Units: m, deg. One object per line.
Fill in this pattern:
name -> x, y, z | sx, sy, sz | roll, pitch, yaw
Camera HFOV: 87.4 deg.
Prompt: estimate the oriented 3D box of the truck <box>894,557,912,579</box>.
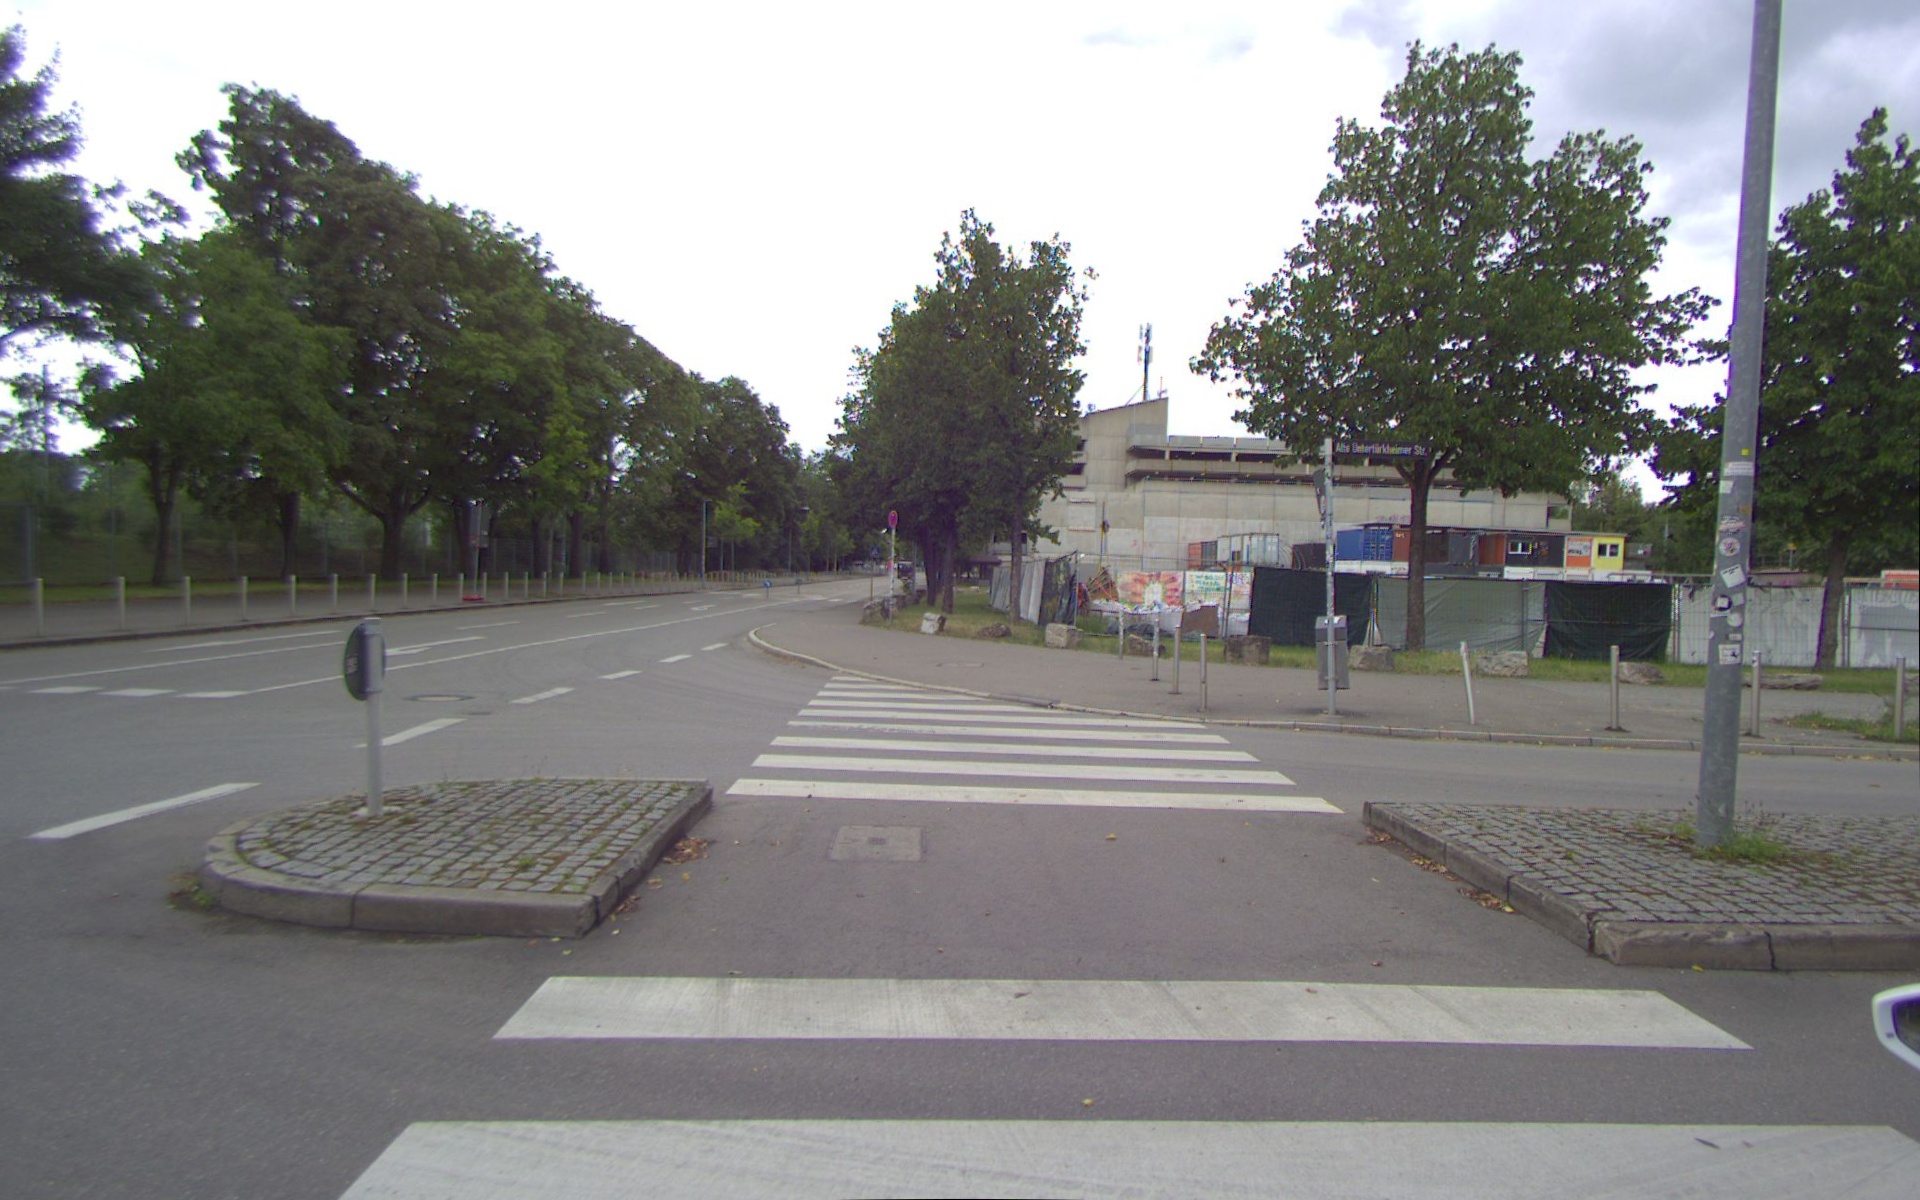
truck -> -9.662, -5.326, 170.081 | 2.629, 3.606, 7.921 | -1, 1, -1
